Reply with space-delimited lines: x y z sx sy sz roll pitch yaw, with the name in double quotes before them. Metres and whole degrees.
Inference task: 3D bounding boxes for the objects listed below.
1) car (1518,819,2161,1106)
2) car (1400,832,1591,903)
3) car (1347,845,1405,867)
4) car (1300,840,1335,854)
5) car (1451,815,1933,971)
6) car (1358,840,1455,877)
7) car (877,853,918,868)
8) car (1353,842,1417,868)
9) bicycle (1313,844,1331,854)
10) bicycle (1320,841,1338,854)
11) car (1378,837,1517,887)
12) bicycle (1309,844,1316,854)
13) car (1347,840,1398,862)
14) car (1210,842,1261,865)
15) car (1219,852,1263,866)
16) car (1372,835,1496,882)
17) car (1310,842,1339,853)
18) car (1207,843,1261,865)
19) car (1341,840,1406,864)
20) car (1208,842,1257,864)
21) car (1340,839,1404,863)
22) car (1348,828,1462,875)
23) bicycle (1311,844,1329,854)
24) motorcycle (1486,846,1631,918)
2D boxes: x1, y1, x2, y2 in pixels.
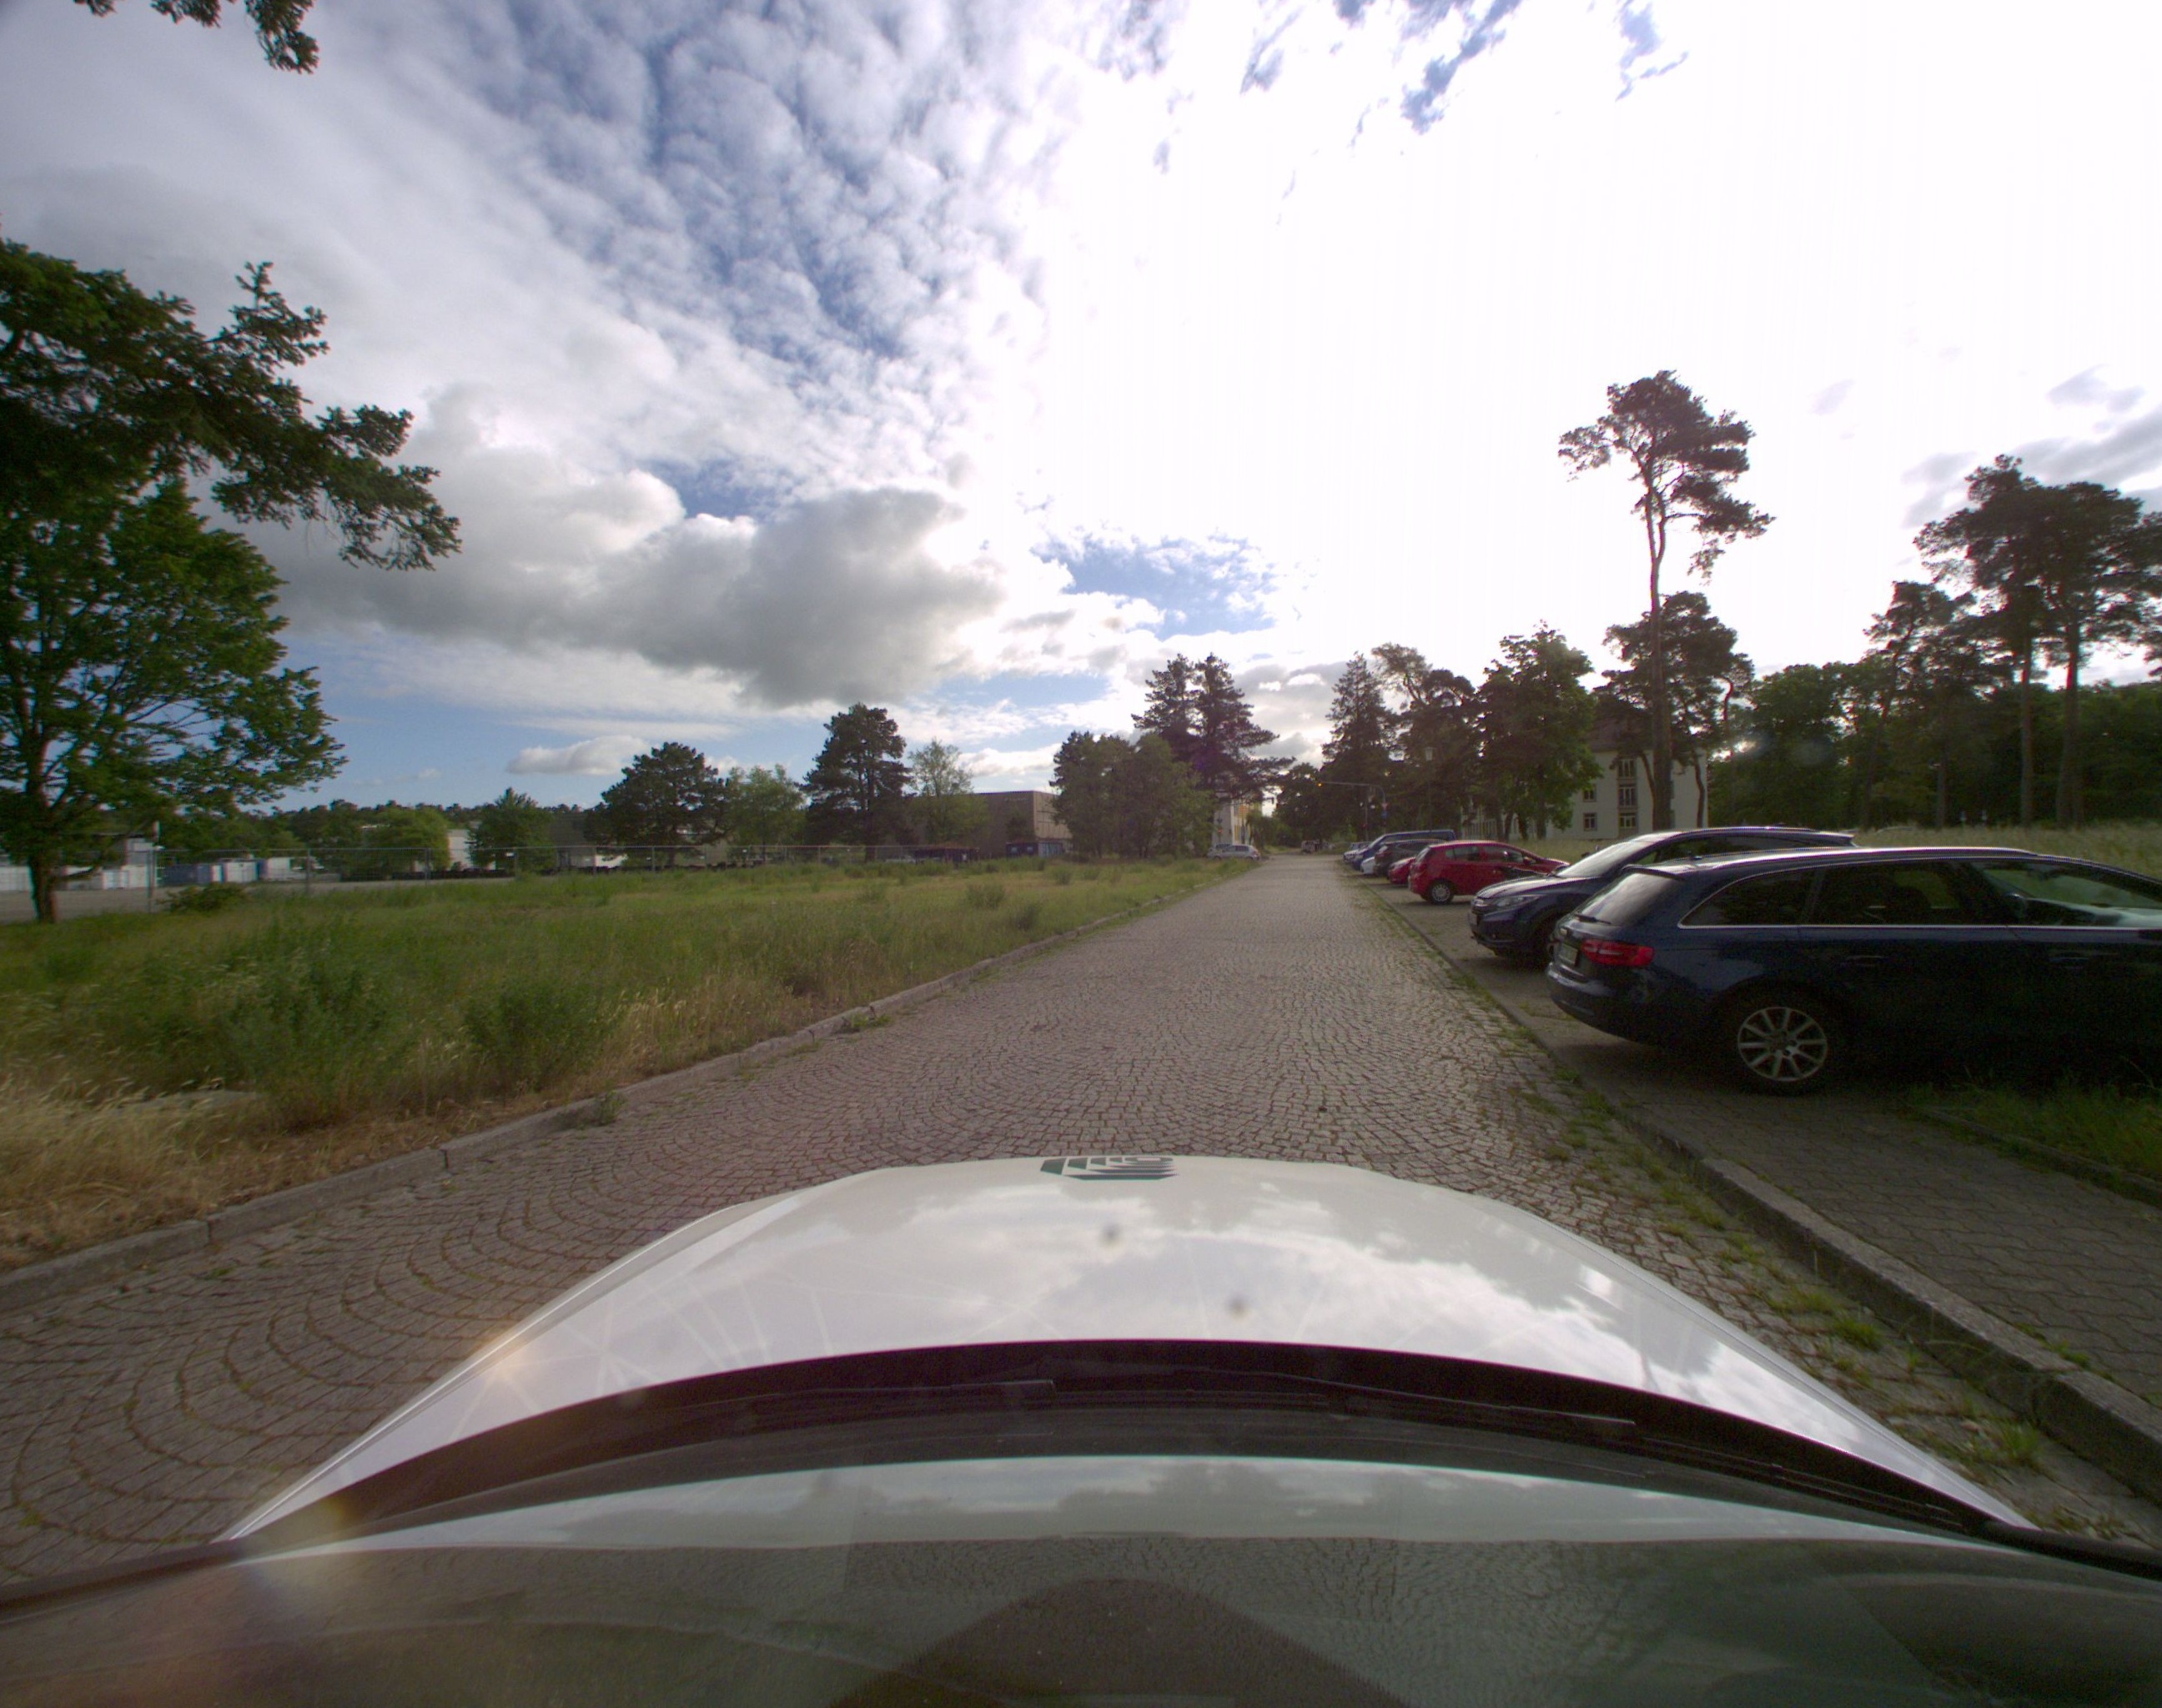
"car" 5.543 0.590 5.300 4.467 1.464 1.905 -3 0 19
"car" 9.893 0.314 19.744 3.811 1.505 1.745 -2 0 15
"car" 18.723 0.117 51.785 3.272 1.267 1.669 -2 0 10
"car" 36.760 -1.111 126.691 5.025 2.013 2.003 -1 0 5
"car" 6.959 0.460 9.859 4.231 1.573 1.903 -3 0 15
"car" 14.269 0.191 35.896 3.696 1.424 1.661 -3 0 13
"car" -20.359 0.705 90.431 3.957 1.553 1.816 -1 0 15
"car" 18.338 0.049 49.158 3.276 1.504 1.667 -2 0 5
"bicycle" 32.344 -0.699 109.340 2.147 1.268 0.815 -1 0 9
"bicycle" 33.588 -0.878 110.342 2.147 1.615 0.815 -1 0 9
"car" 12.069 0.258 27.071 3.957 1.518 1.745 -2 0 16
"bicycle" 30.099 -0.592 106.050 0.803 1.268 1.982 -1 0 17
"car" 21.884 -0.219 61.186 3.368 1.543 1.395 -2 0 10
"car" 12.443 -0.054 65.655 3.962 1.706 2.006 -2 0 10
"car" 13.883 0.428 70.720 3.648 1.094 1.651 -2 0 10
"car" 12.740 0.156 29.625 3.921 1.580 1.769 -1 0 14
"car" 36.772 -0.979 123.269 3.962 1.644 2.006 -1 0 10
"car" 11.847 0.000 63.166 3.962 1.552 2.006 -2 0 10
"car" 20.073 -0.127 56.069 3.962 1.543 1.669 -2 0 10
"car" 12.771 -0.116 68.684 3.963 1.750 1.932 -1 0 9
"car" 20.949 -0.223 58.768 4.097 1.543 1.669 -2 0 10
"car" 15.114 -0.126 38.260 4.748 2.039 1.745 -2 0 14
"bicycle" 32.616 -0.699 111.142 2.147 1.268 0.815 -1 0 9
"motorcycle" 8.944 0.524 15.327 2.250 1.275 0.608 -2 0 11
